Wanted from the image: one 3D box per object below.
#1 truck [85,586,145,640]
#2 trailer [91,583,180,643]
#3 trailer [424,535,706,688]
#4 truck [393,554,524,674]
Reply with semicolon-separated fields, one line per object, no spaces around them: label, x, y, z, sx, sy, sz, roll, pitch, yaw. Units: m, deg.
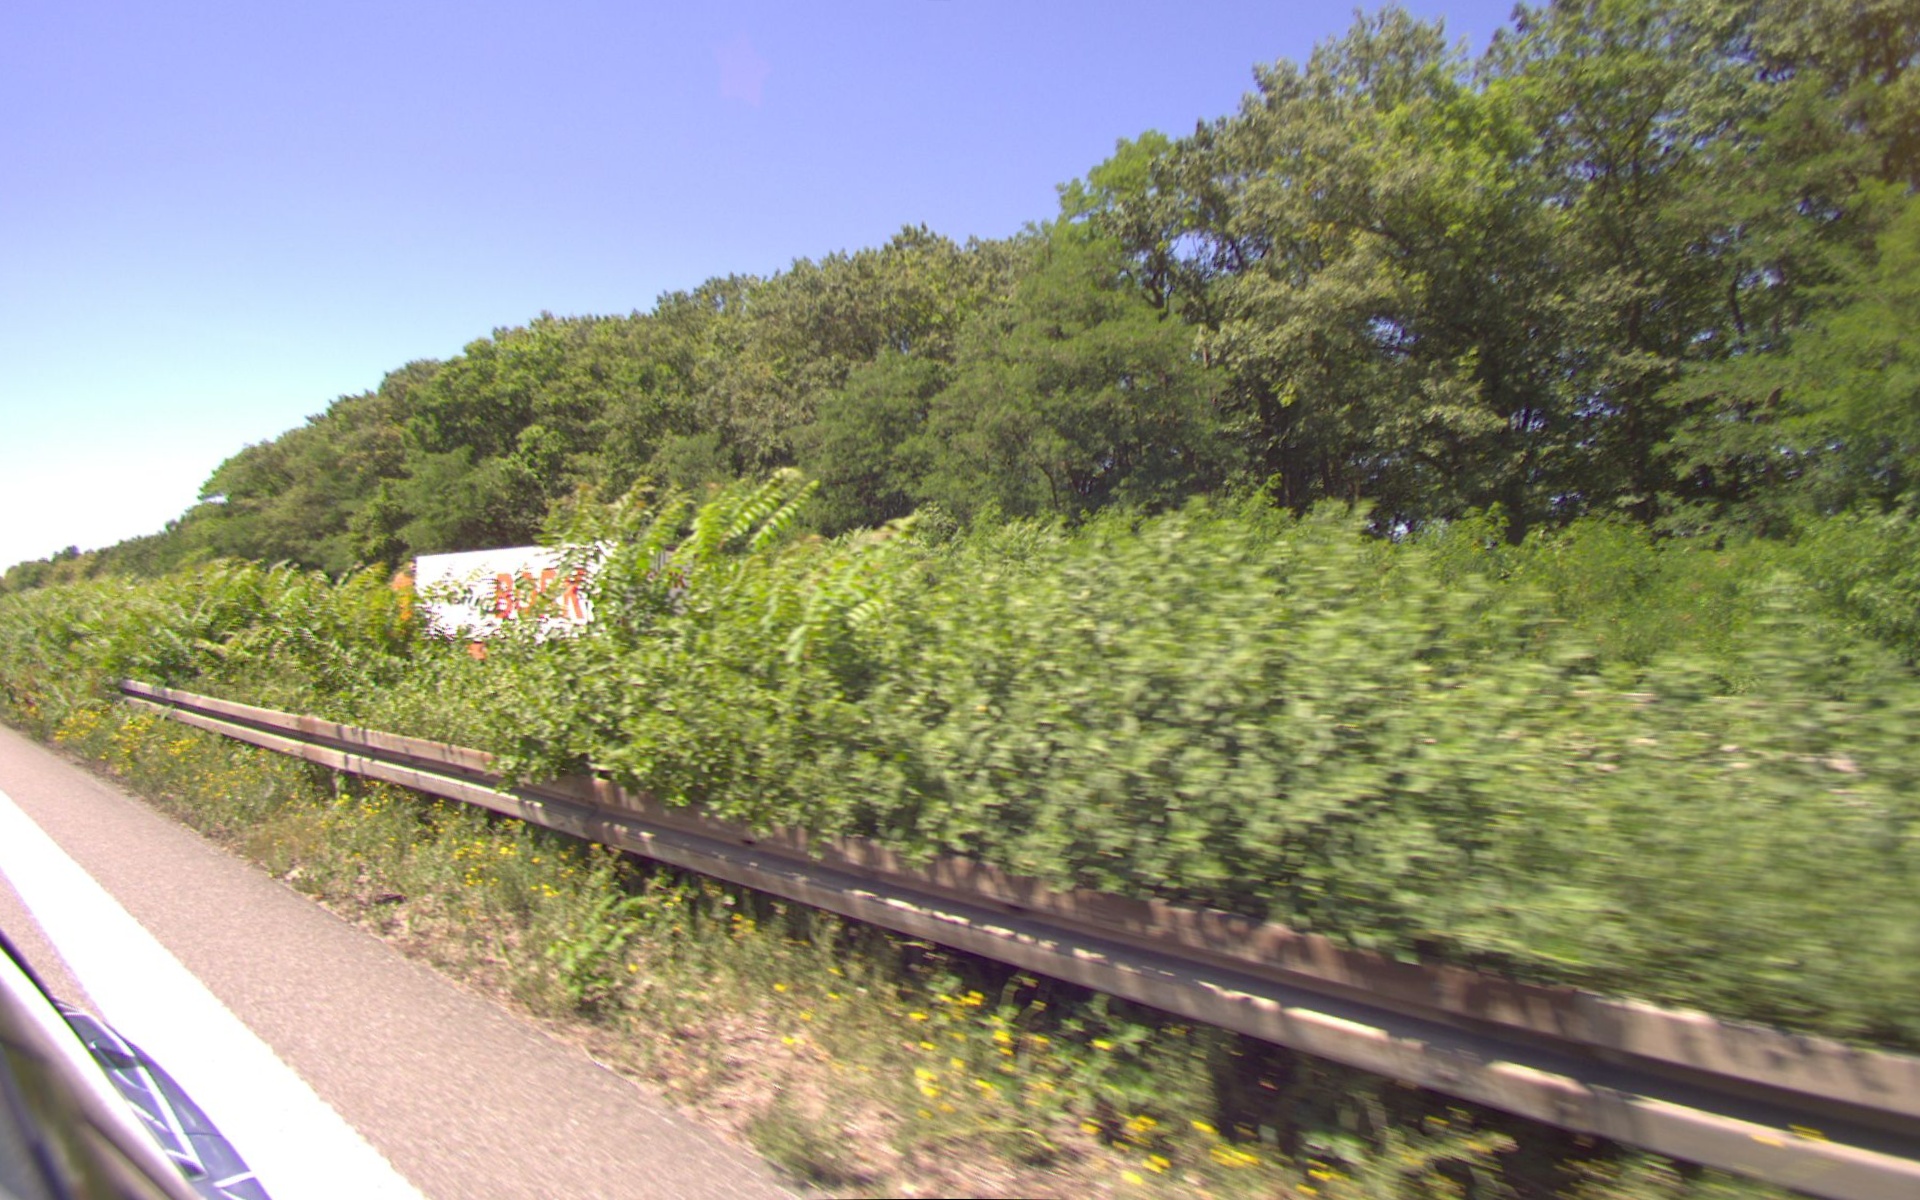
truck;-65.854;1.076;78.879;4.182;4.065;2.805;-1;-3;41
trailer;-60.793;1.016;74.457;12.907;4.065;2.804;-1;-3;41
trailer;-13.082;0.411;32.372;12.910;4.081;2.890;-1;-1;42
truck;-18.409;0.516;37.126;4.293;4.081;2.890;-1;-1;41
